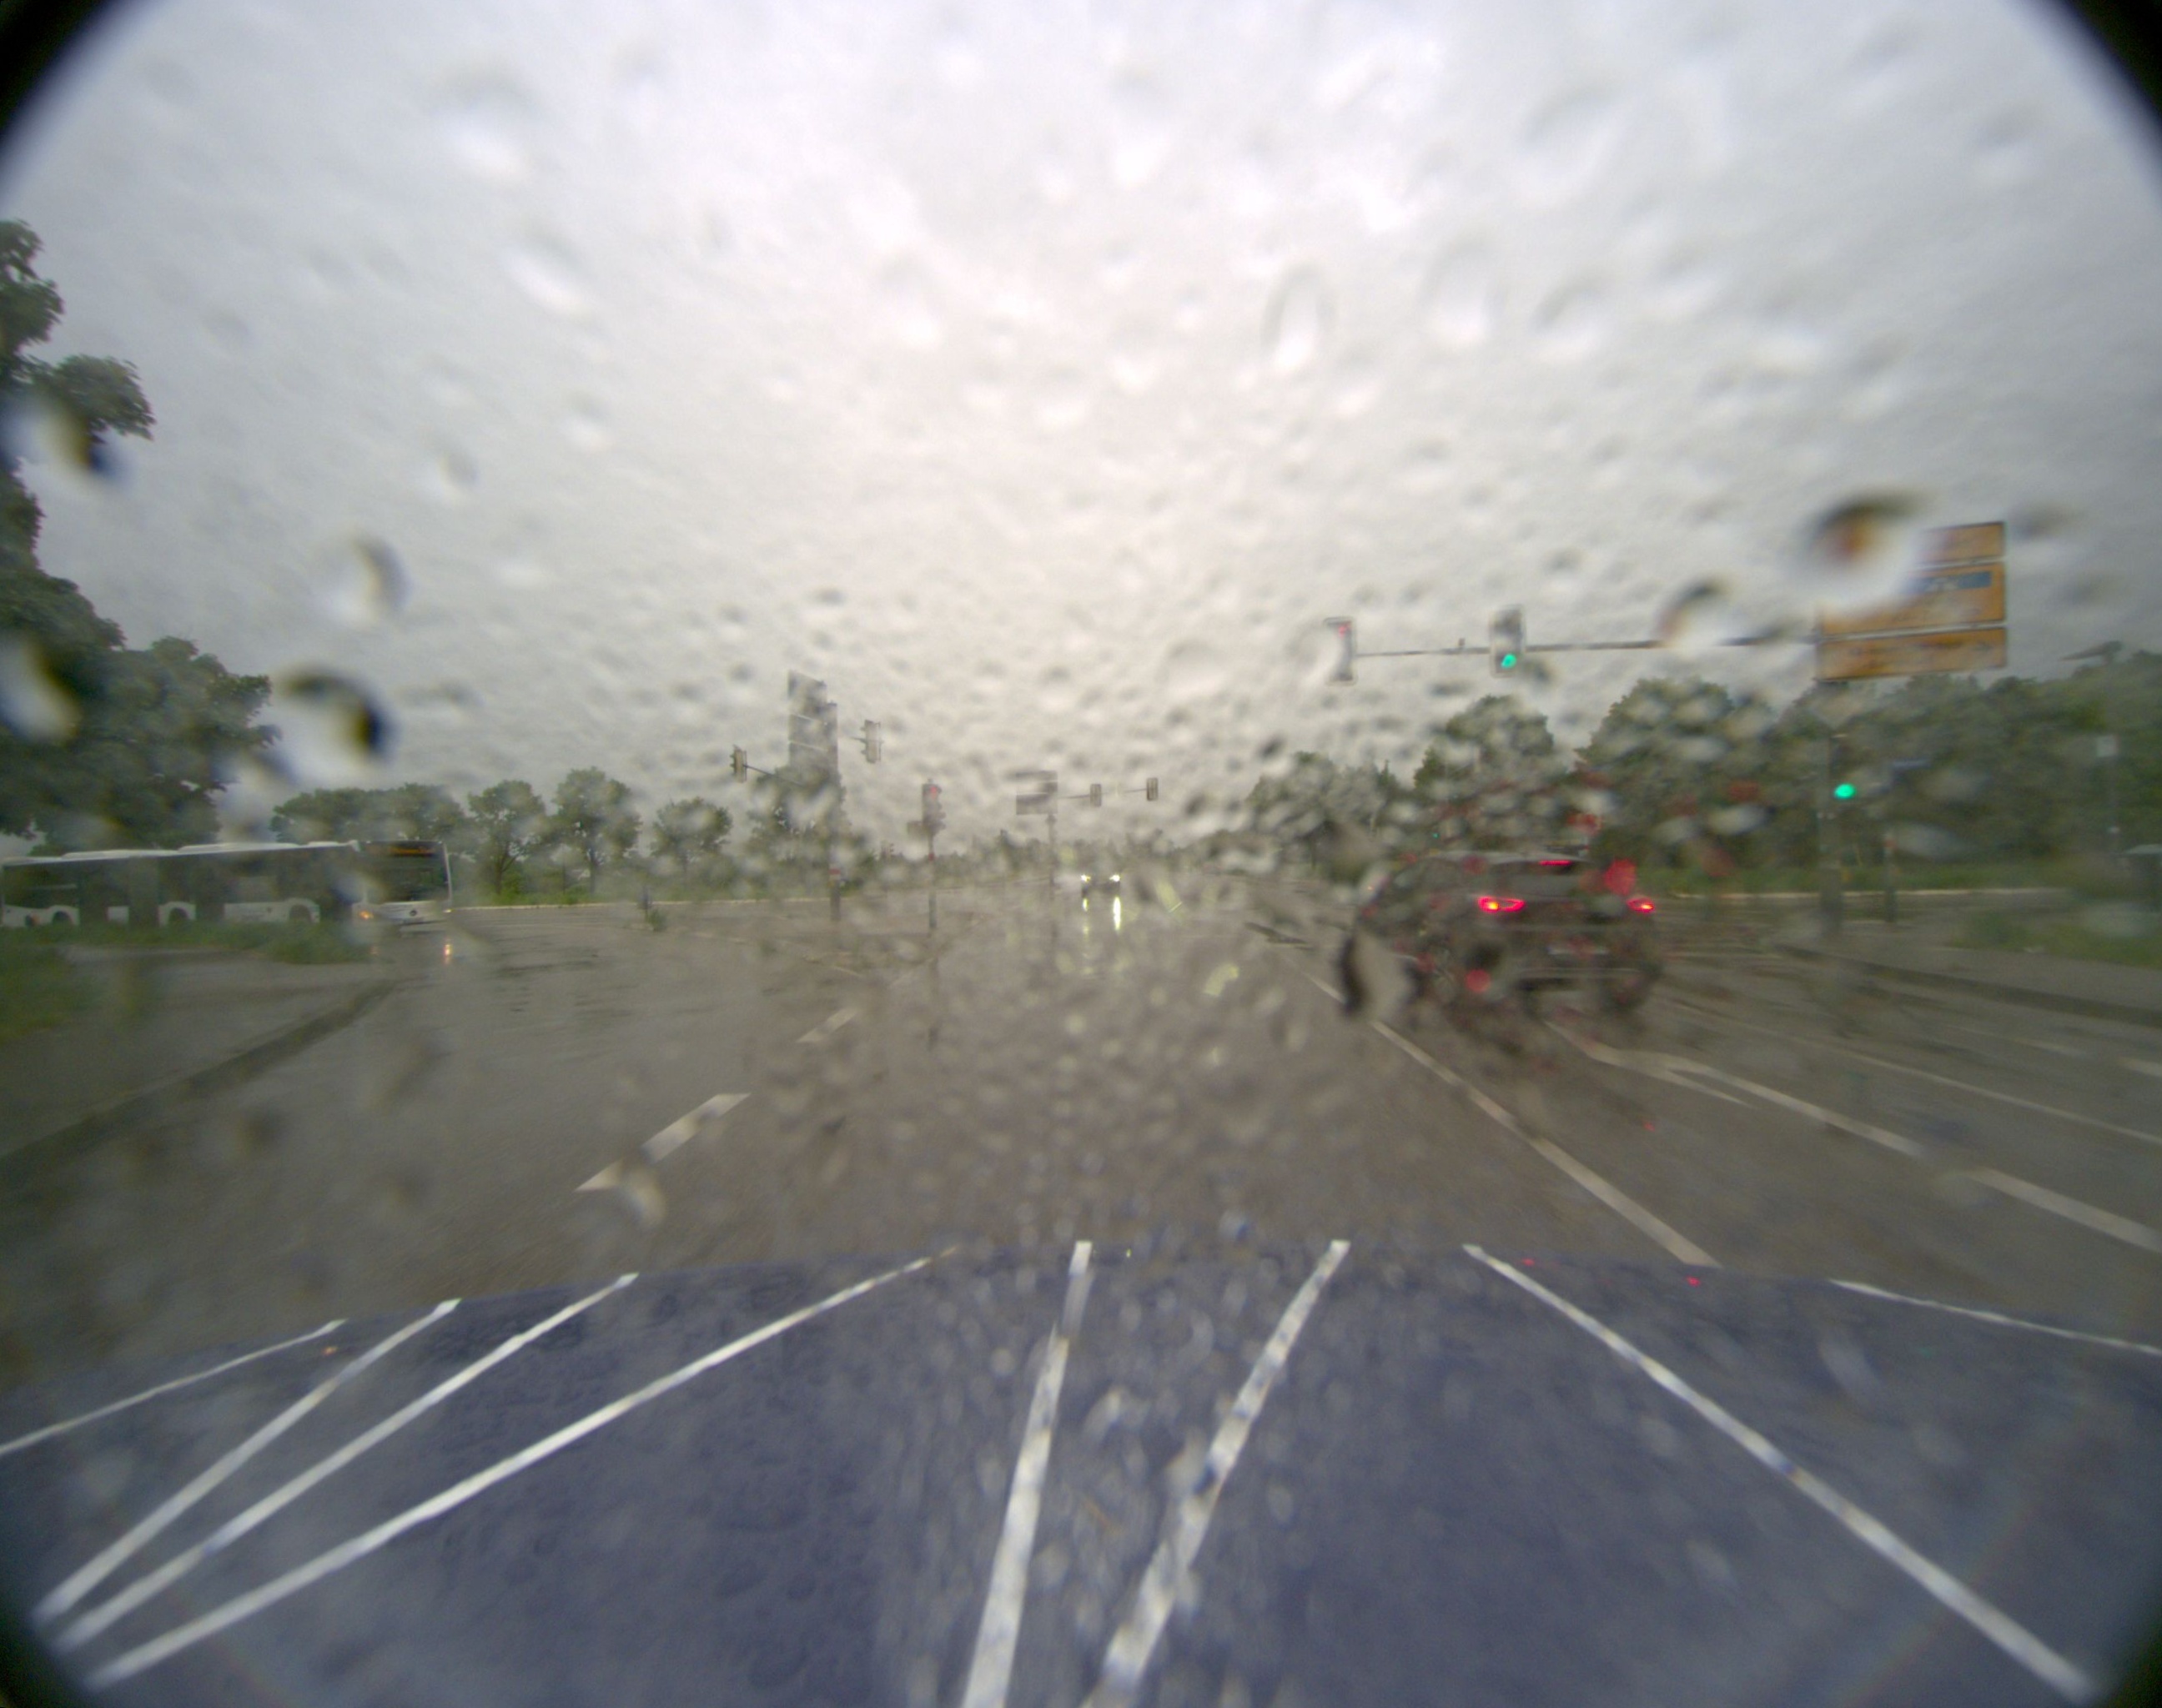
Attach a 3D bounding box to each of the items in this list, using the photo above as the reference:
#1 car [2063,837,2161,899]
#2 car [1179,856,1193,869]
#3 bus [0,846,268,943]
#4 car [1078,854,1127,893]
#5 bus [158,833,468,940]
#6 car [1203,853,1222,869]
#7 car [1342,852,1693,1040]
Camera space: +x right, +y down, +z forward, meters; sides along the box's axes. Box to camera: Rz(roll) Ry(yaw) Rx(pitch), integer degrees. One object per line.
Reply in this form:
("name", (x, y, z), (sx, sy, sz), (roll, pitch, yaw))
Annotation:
("car", (28.845, 0.300, 19.650), (3.995, 1.510, 2.001), (-1, 1, 6))
("car", (17.574, 1.349, 126.837), (1.918, 2.002, 4.004), (-2, 1, 13))
("bus", (-34.658, 1.472, 27.319), (9.977, 3.059, 2.681), (-2, 1, 13))
("car", (1.081, 0.895, 36.004), (1.998, 1.622, 4.001), (-2, 0, 6))
("bus", (-24.943, 1.079, 24.636), (9.974, 3.059, 2.681), (-2, 1, 18))
("car", (13.699, 0.718, 79.221), (1.616, 1.510, 3.657), (-2, 0, 7))
("car", (4.299, 0.772, 8.270), (1.766, 1.528, 3.877), (-1, 1, 4))
